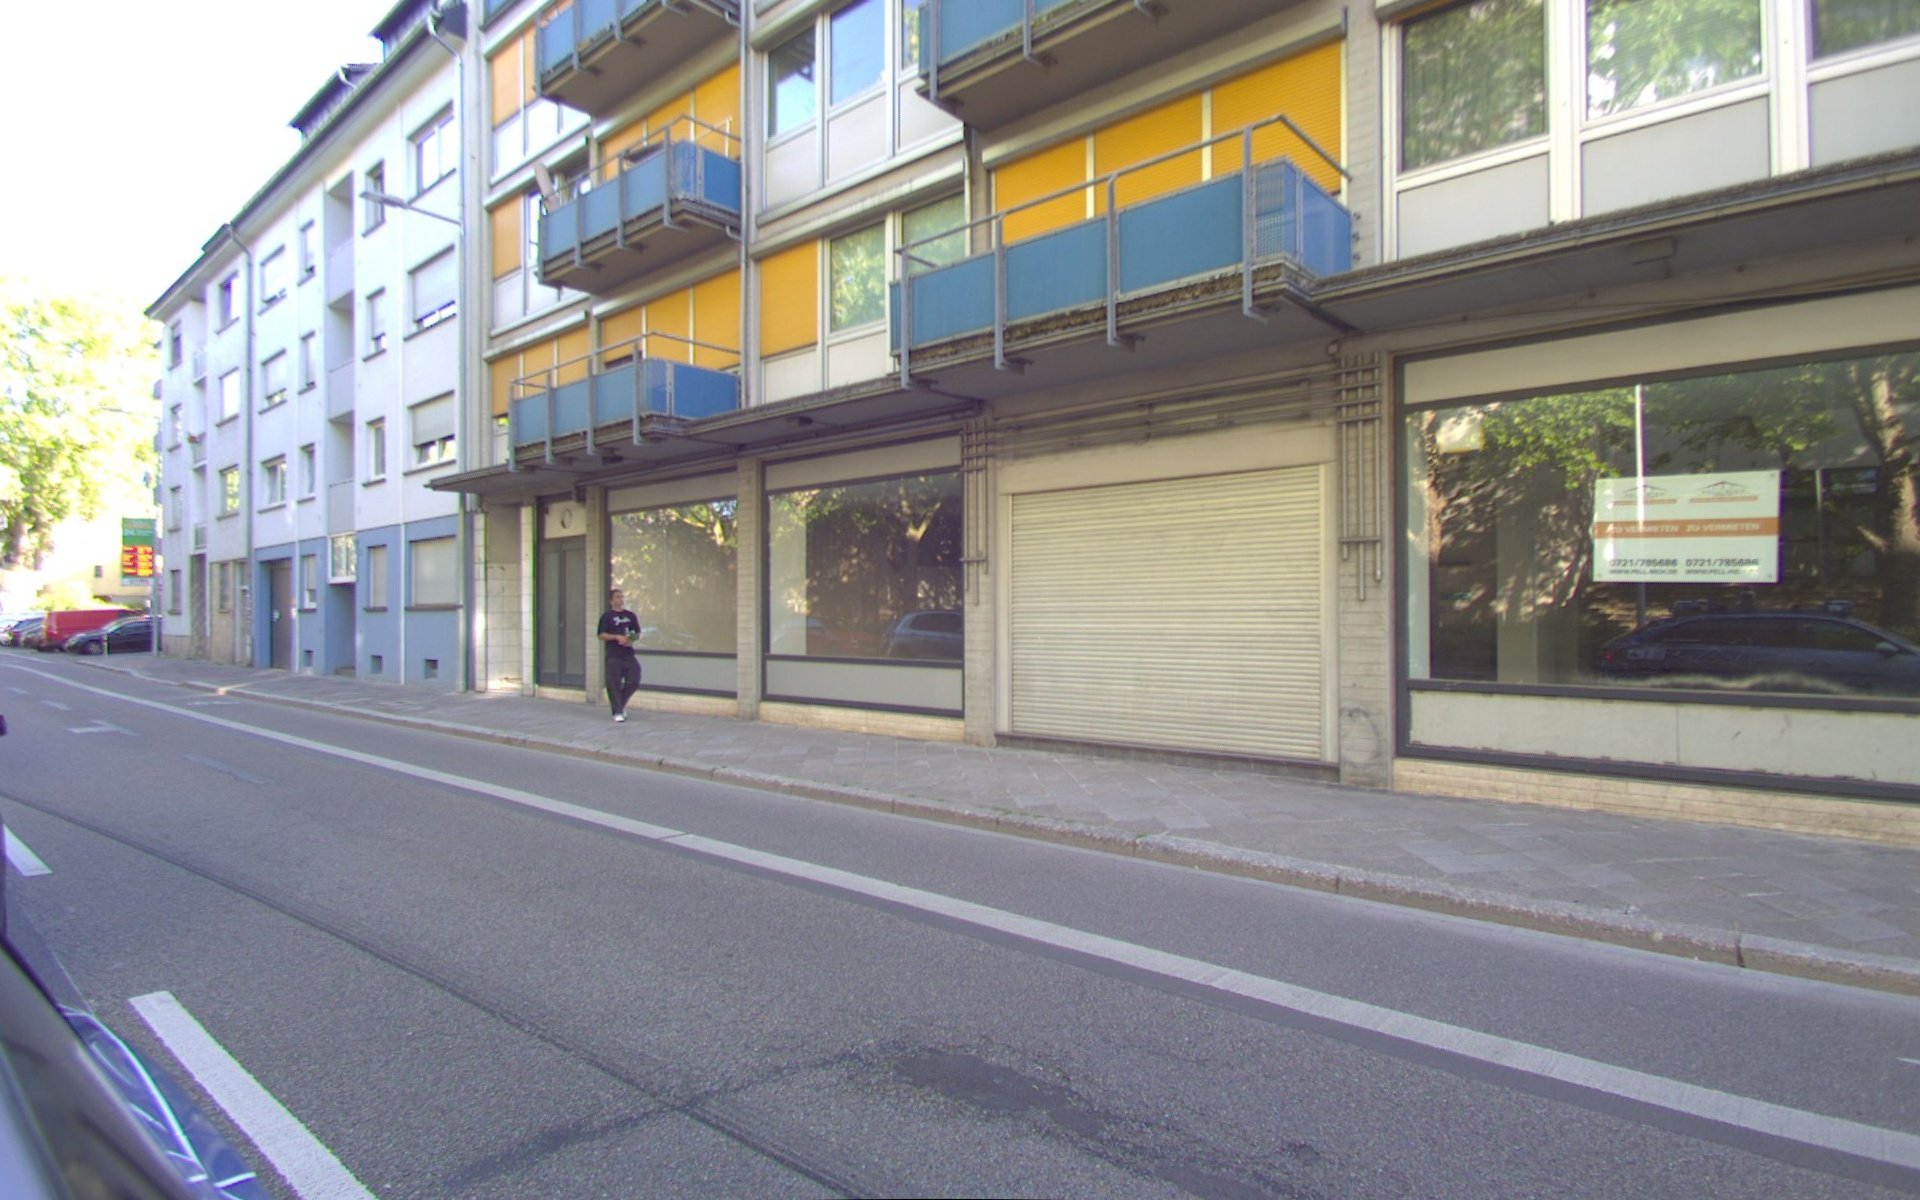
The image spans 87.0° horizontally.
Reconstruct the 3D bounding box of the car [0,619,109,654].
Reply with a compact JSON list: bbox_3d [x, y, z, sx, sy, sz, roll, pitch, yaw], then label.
[{"bbox_3d":[-54.123,2.141,60.360,2.082,1.952,4.928,-1,-1,41],"label":"car"}]

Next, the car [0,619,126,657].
[{"bbox_3d":[-50.298,2.096,56.835,2.186,1.952,5.077,-1,-1,41],"label":"car"}]

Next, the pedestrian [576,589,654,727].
[{"bbox_3d":[-4.625,0.749,13.567,0.793,1.785,0.655,-1,-1,41],"label":"pedestrian"}]

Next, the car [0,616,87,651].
[{"bbox_3d":[-59.345,2.109,64.717,2.186,2.164,5.077,-1,-1,41],"label":"car"}]

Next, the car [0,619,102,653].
[{"bbox_3d":[-55.971,2.169,61.991,2.314,1.952,4.978,-1,-1,41],"label":"car"}]

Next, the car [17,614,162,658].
[{"bbox_3d":[-42.691,1.709,49.719,2.256,1.995,5.156,-1,-1,41],"label":"car"}]

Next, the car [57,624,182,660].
[{"bbox_3d":[-36.553,1.795,44.082,1.742,1.431,3.946,-1,-1,41],"label":"car"}]

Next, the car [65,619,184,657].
[{"bbox_3d":[-37.877,1.685,45.947,1.742,1.572,3.946,-1,-1,41],"label":"car"}]

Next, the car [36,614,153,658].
[{"bbox_3d":[-40.590,1.642,47.521,1.866,1.952,3.946,-1,-1,41],"label":"car"}]

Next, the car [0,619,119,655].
[{"bbox_3d":[-52.237,2.119,58.723,2.159,1.952,4.990,-1,-1,41],"label":"car"}]
